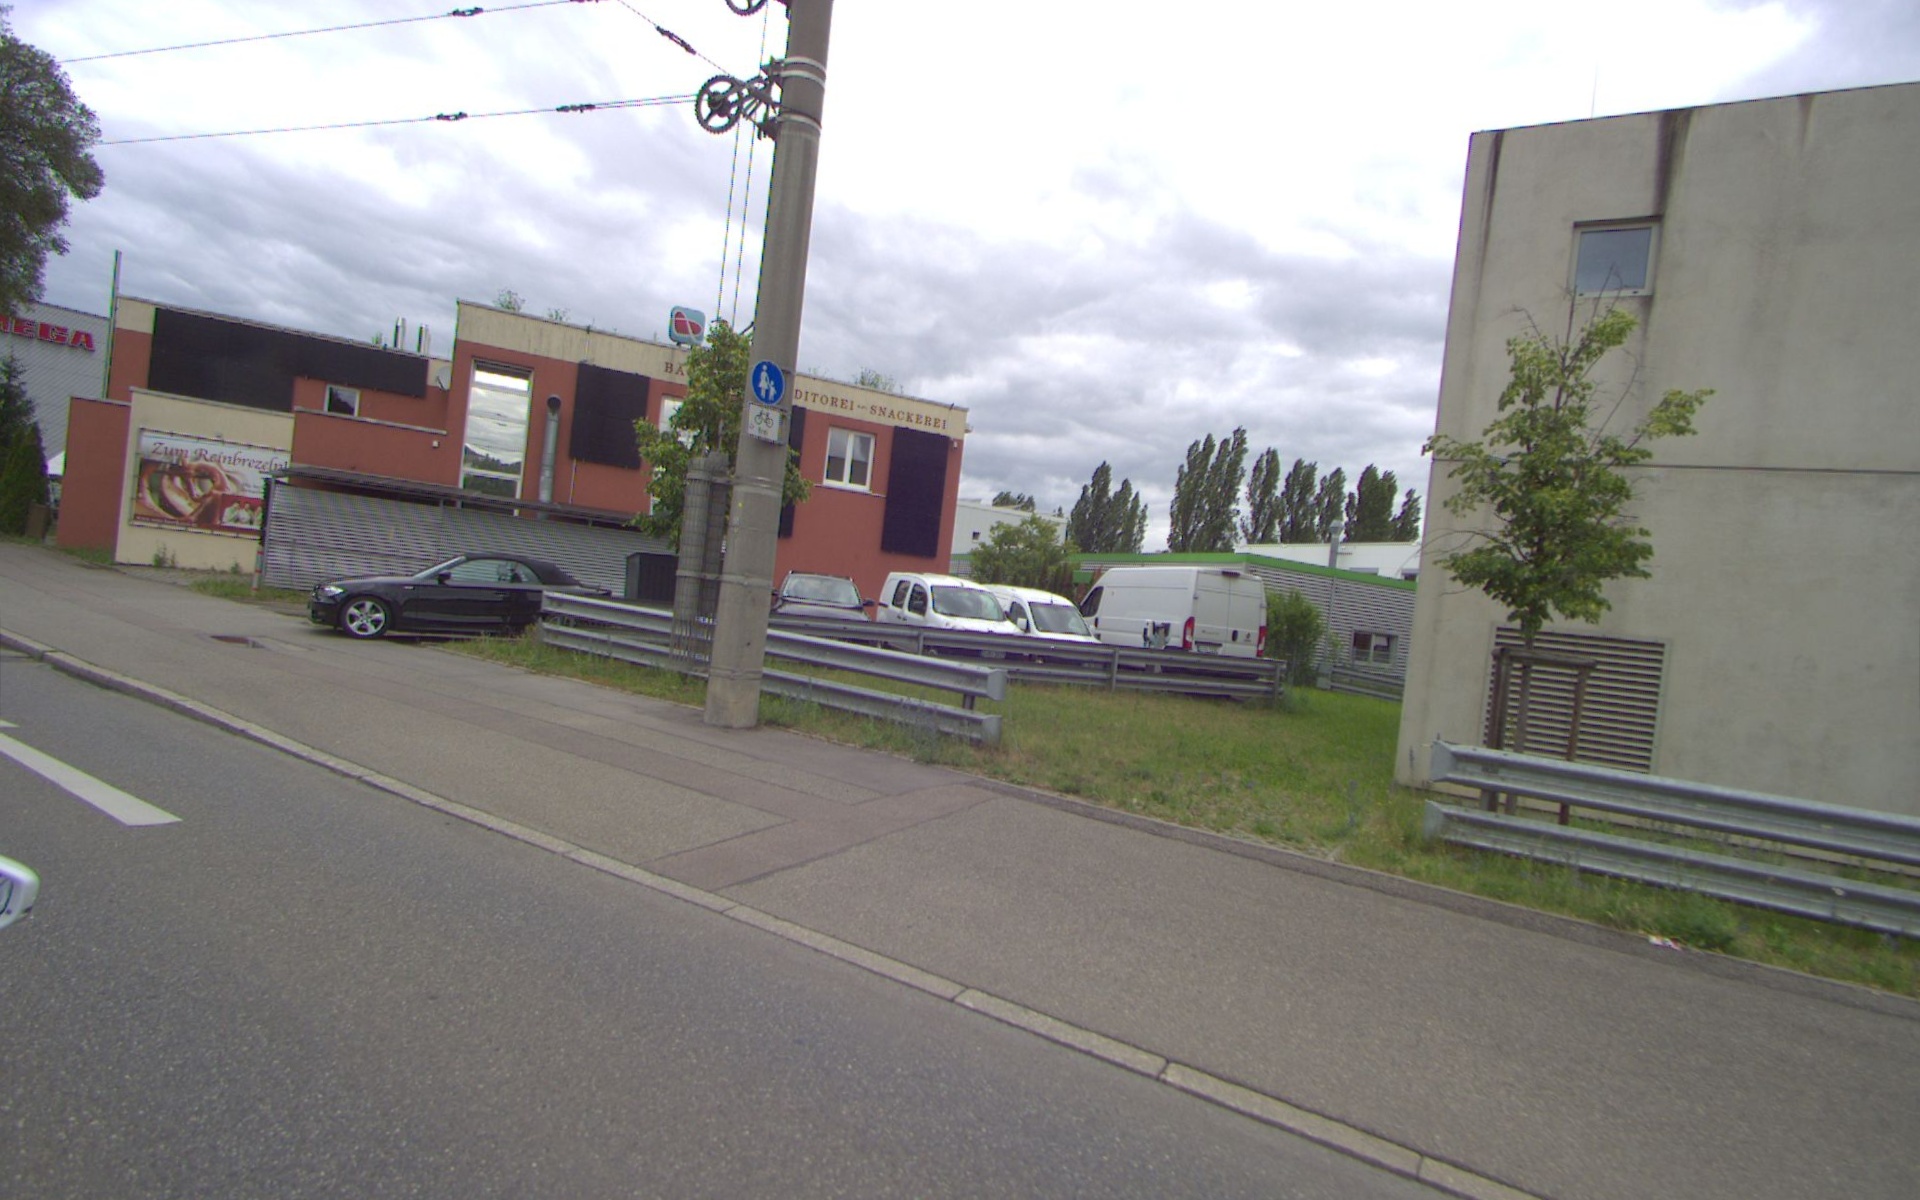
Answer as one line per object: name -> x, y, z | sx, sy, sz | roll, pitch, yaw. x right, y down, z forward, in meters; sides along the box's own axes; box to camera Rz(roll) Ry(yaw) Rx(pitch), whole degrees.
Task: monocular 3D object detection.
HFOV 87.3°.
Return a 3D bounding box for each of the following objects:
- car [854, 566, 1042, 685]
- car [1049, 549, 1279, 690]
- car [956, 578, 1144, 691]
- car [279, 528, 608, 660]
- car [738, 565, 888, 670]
car -> -0.393, 0.408, 19.822 | 1.837, 1.855, 4.513 | 6, 0, -25
car -> 4.339, 0.303, 22.553 | 2.069, 2.622, 5.392 | 6, 0, -24
car -> 1.730, 0.632, 21.067 | 1.795, 1.855, 4.413 | 6, 0, -25
car -> -7.835, -0.065, 15.511 | 4.189, 1.460, 1.749 | 8, 0, -31
car -> -2.882, 0.247, 18.797 | 2.127, 1.568, 4.506 | 5, 0, -15
